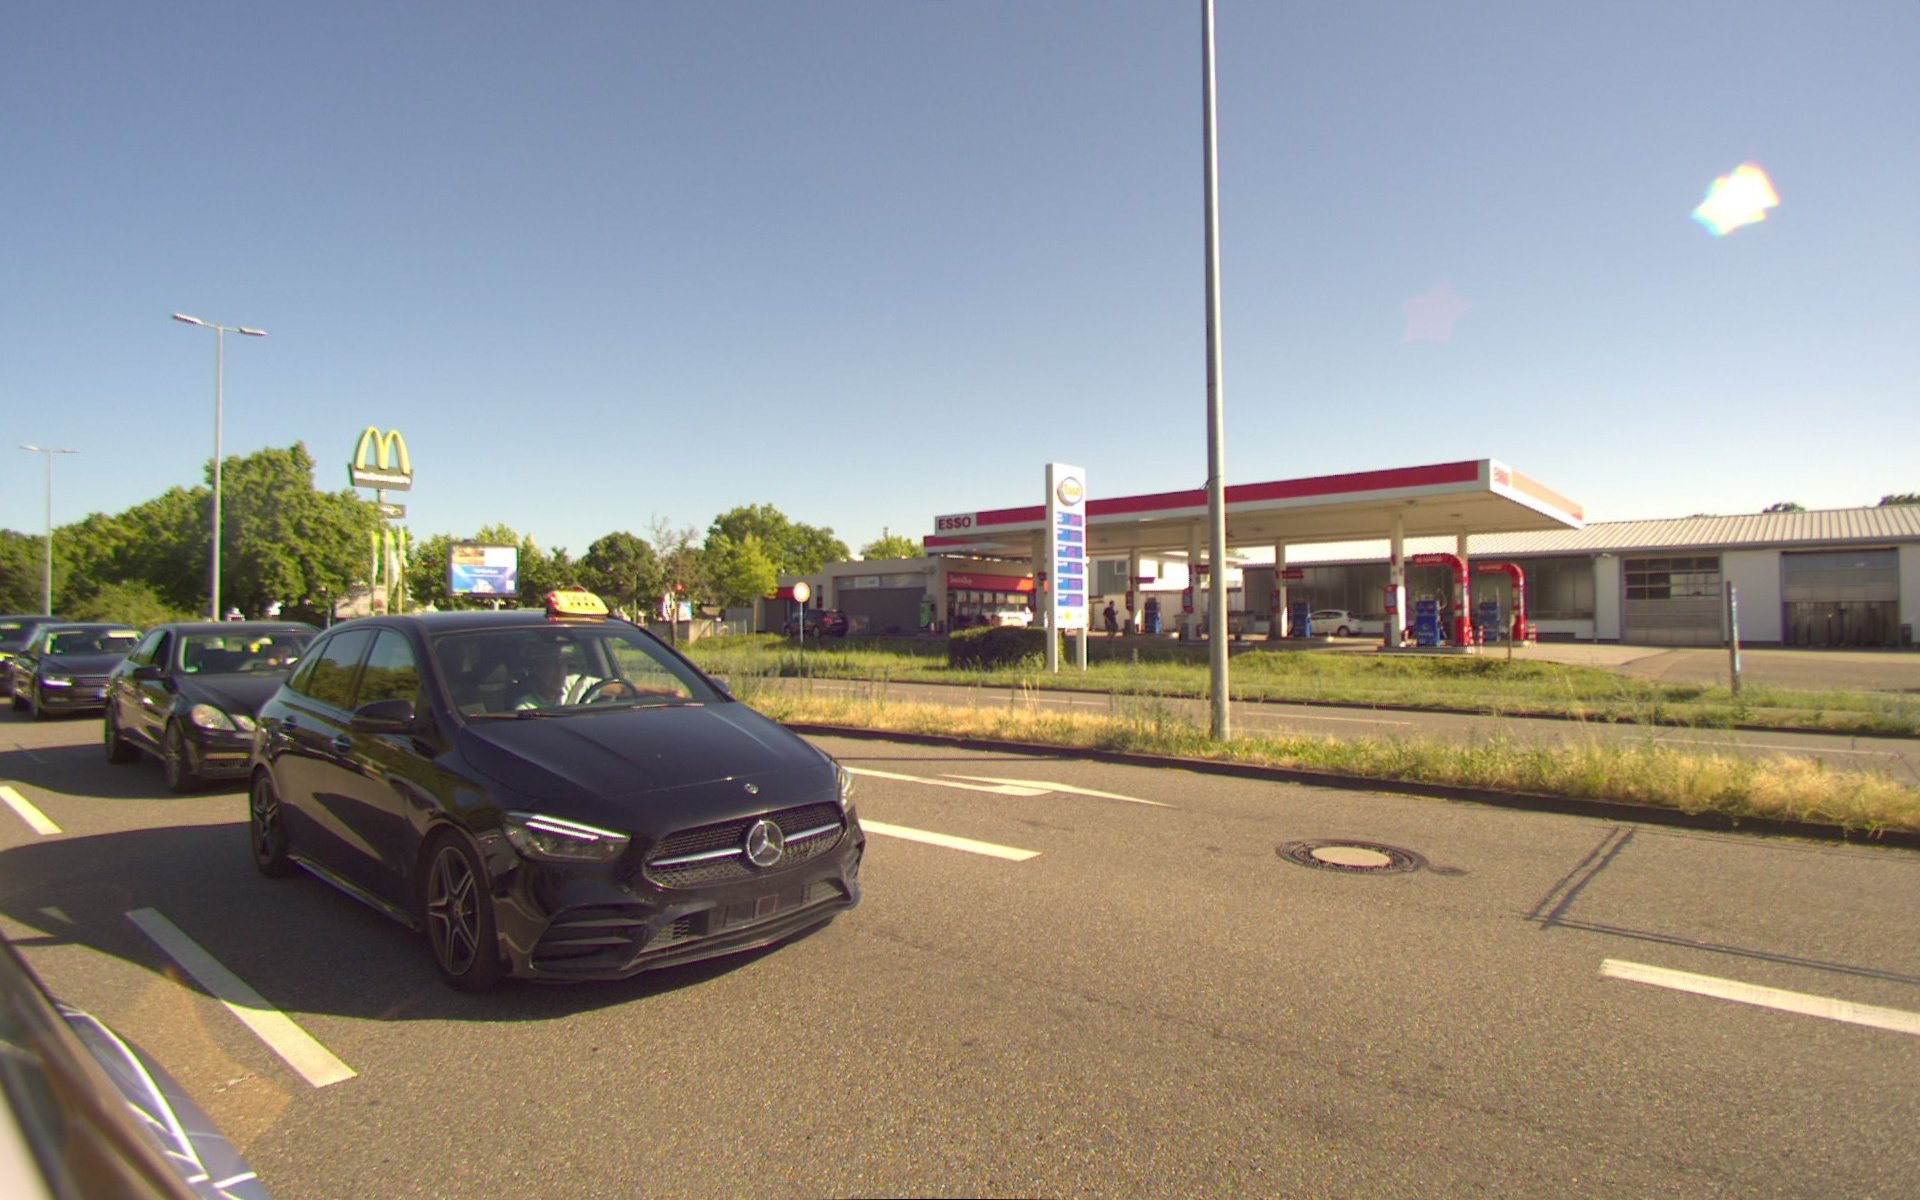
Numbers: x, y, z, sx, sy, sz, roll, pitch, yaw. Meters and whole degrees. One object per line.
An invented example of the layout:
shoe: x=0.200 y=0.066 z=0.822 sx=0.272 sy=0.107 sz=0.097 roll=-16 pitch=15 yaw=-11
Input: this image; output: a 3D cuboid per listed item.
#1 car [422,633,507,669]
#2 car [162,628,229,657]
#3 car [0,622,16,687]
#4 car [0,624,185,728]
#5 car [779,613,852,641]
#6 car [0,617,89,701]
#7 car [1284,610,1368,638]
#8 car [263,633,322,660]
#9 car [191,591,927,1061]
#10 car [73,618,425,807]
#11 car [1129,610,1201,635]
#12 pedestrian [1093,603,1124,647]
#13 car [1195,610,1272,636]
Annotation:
car: x=-21.010 y=2.147 z=42.898 sx=3.975 sy=1.420 sz=1.741 roll=-1 pitch=-4 yaw=40
car: x=-43.769 y=2.439 z=57.924 sx=4.872 sy=1.502 sz=1.742 roll=-1 pitch=-4 yaw=38
car: x=-25.229 y=1.370 z=25.543 sx=3.774 sy=1.567 sz=1.615 roll=-1 pitch=-1 yaw=40
car: x=-14.457 y=1.155 z=16.696 sx=4.284 sy=1.438 sz=1.775 roll=-1 pitch=0 yaw=40
car: x=-7.877 y=1.475 z=55.009 sx=3.975 sy=1.420 sz=1.661 roll=-1 pitch=-4 yaw=40
car: x=-19.944 y=1.204 z=21.446 sx=3.876 sy=1.629 sz=1.653 roll=-2 pitch=-1 yaw=40
car: x=19.832 y=1.296 z=54.842 sx=3.975 sy=1.420 sz=1.661 roll=-1 pitch=-4 yaw=40
car: x=-38.739 y=2.684 z=58.701 sx=3.975 sy=1.420 sz=1.741 roll=-1 pitch=-4 yaw=40
car: x=-2.389 y=0.739 z=5.337 sx=4.400 sy=1.502 sz=1.741 roll=-1 pitch=0 yaw=40
car: x=-7.266 y=0.932 z=10.164 sx=4.400 sy=1.449 sz=1.845 roll=-1 pitch=0 yaw=40
car: x=12.432 y=1.391 z=61.383 sx=3.975 sy=1.420 sz=1.661 roll=-1 pitch=-4 yaw=40
pedestrian: x=5.959 y=0.997 z=40.615 sx=0.904 sy=1.763 sz=0.780 roll=-1 pitch=0 yaw=42
car: x=15.830 y=1.347 z=58.584 sx=3.975 sy=1.420 sz=1.661 roll=-1 pitch=-4 yaw=40
